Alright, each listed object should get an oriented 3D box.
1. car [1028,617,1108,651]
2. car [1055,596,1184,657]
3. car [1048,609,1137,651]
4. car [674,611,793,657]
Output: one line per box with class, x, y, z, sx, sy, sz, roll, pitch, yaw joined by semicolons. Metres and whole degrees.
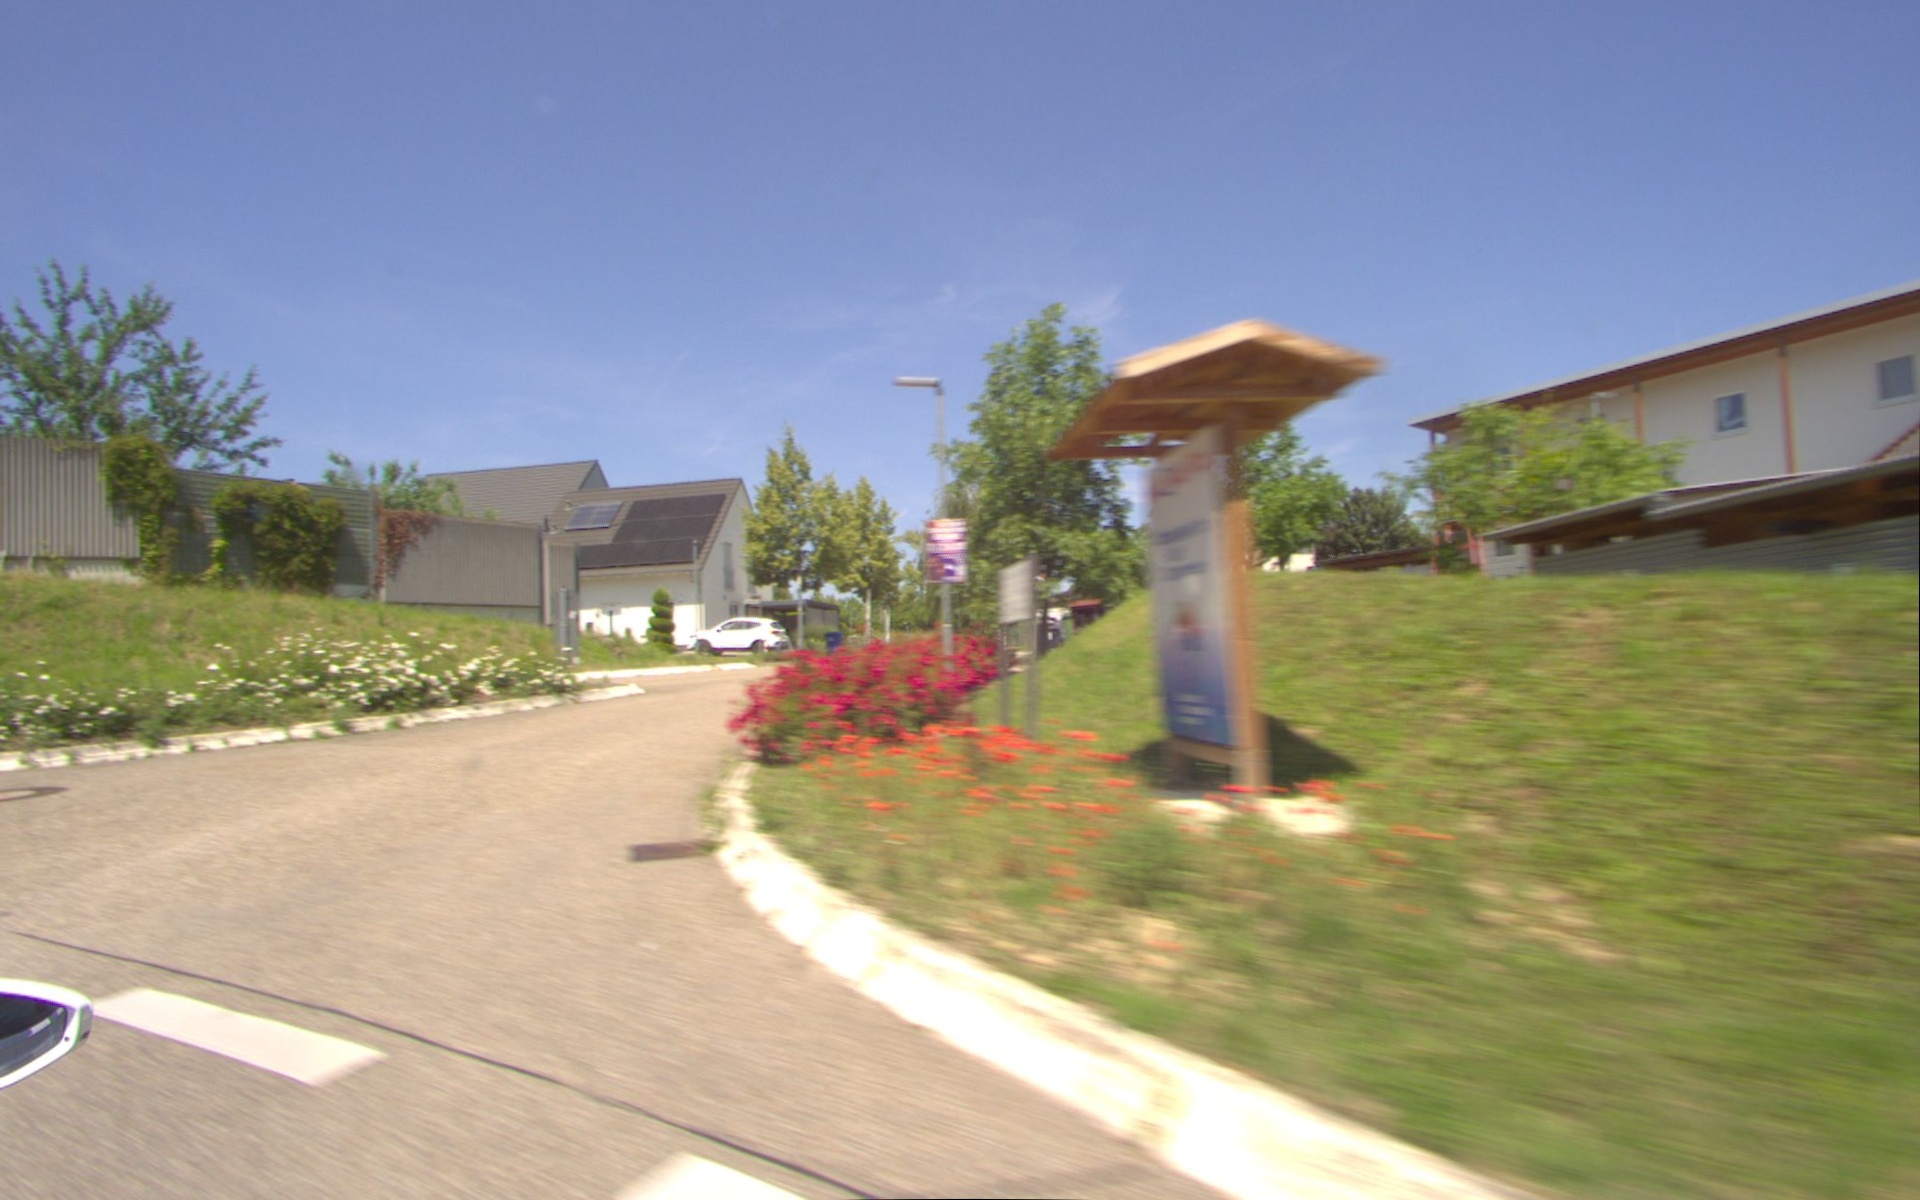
car;5.555;1.799;51.887;3.922;1.599;1.873;-2;-3;2
car;5.139;0.887;32.393;3.924;1.773;1.872;-2;-3;9
car;6.130;1.418;46.242;3.924;1.773;1.872;-2;-3;9
car;-9.818;1.488;43.555;4.516;1.674;2.003;2;-5;9
